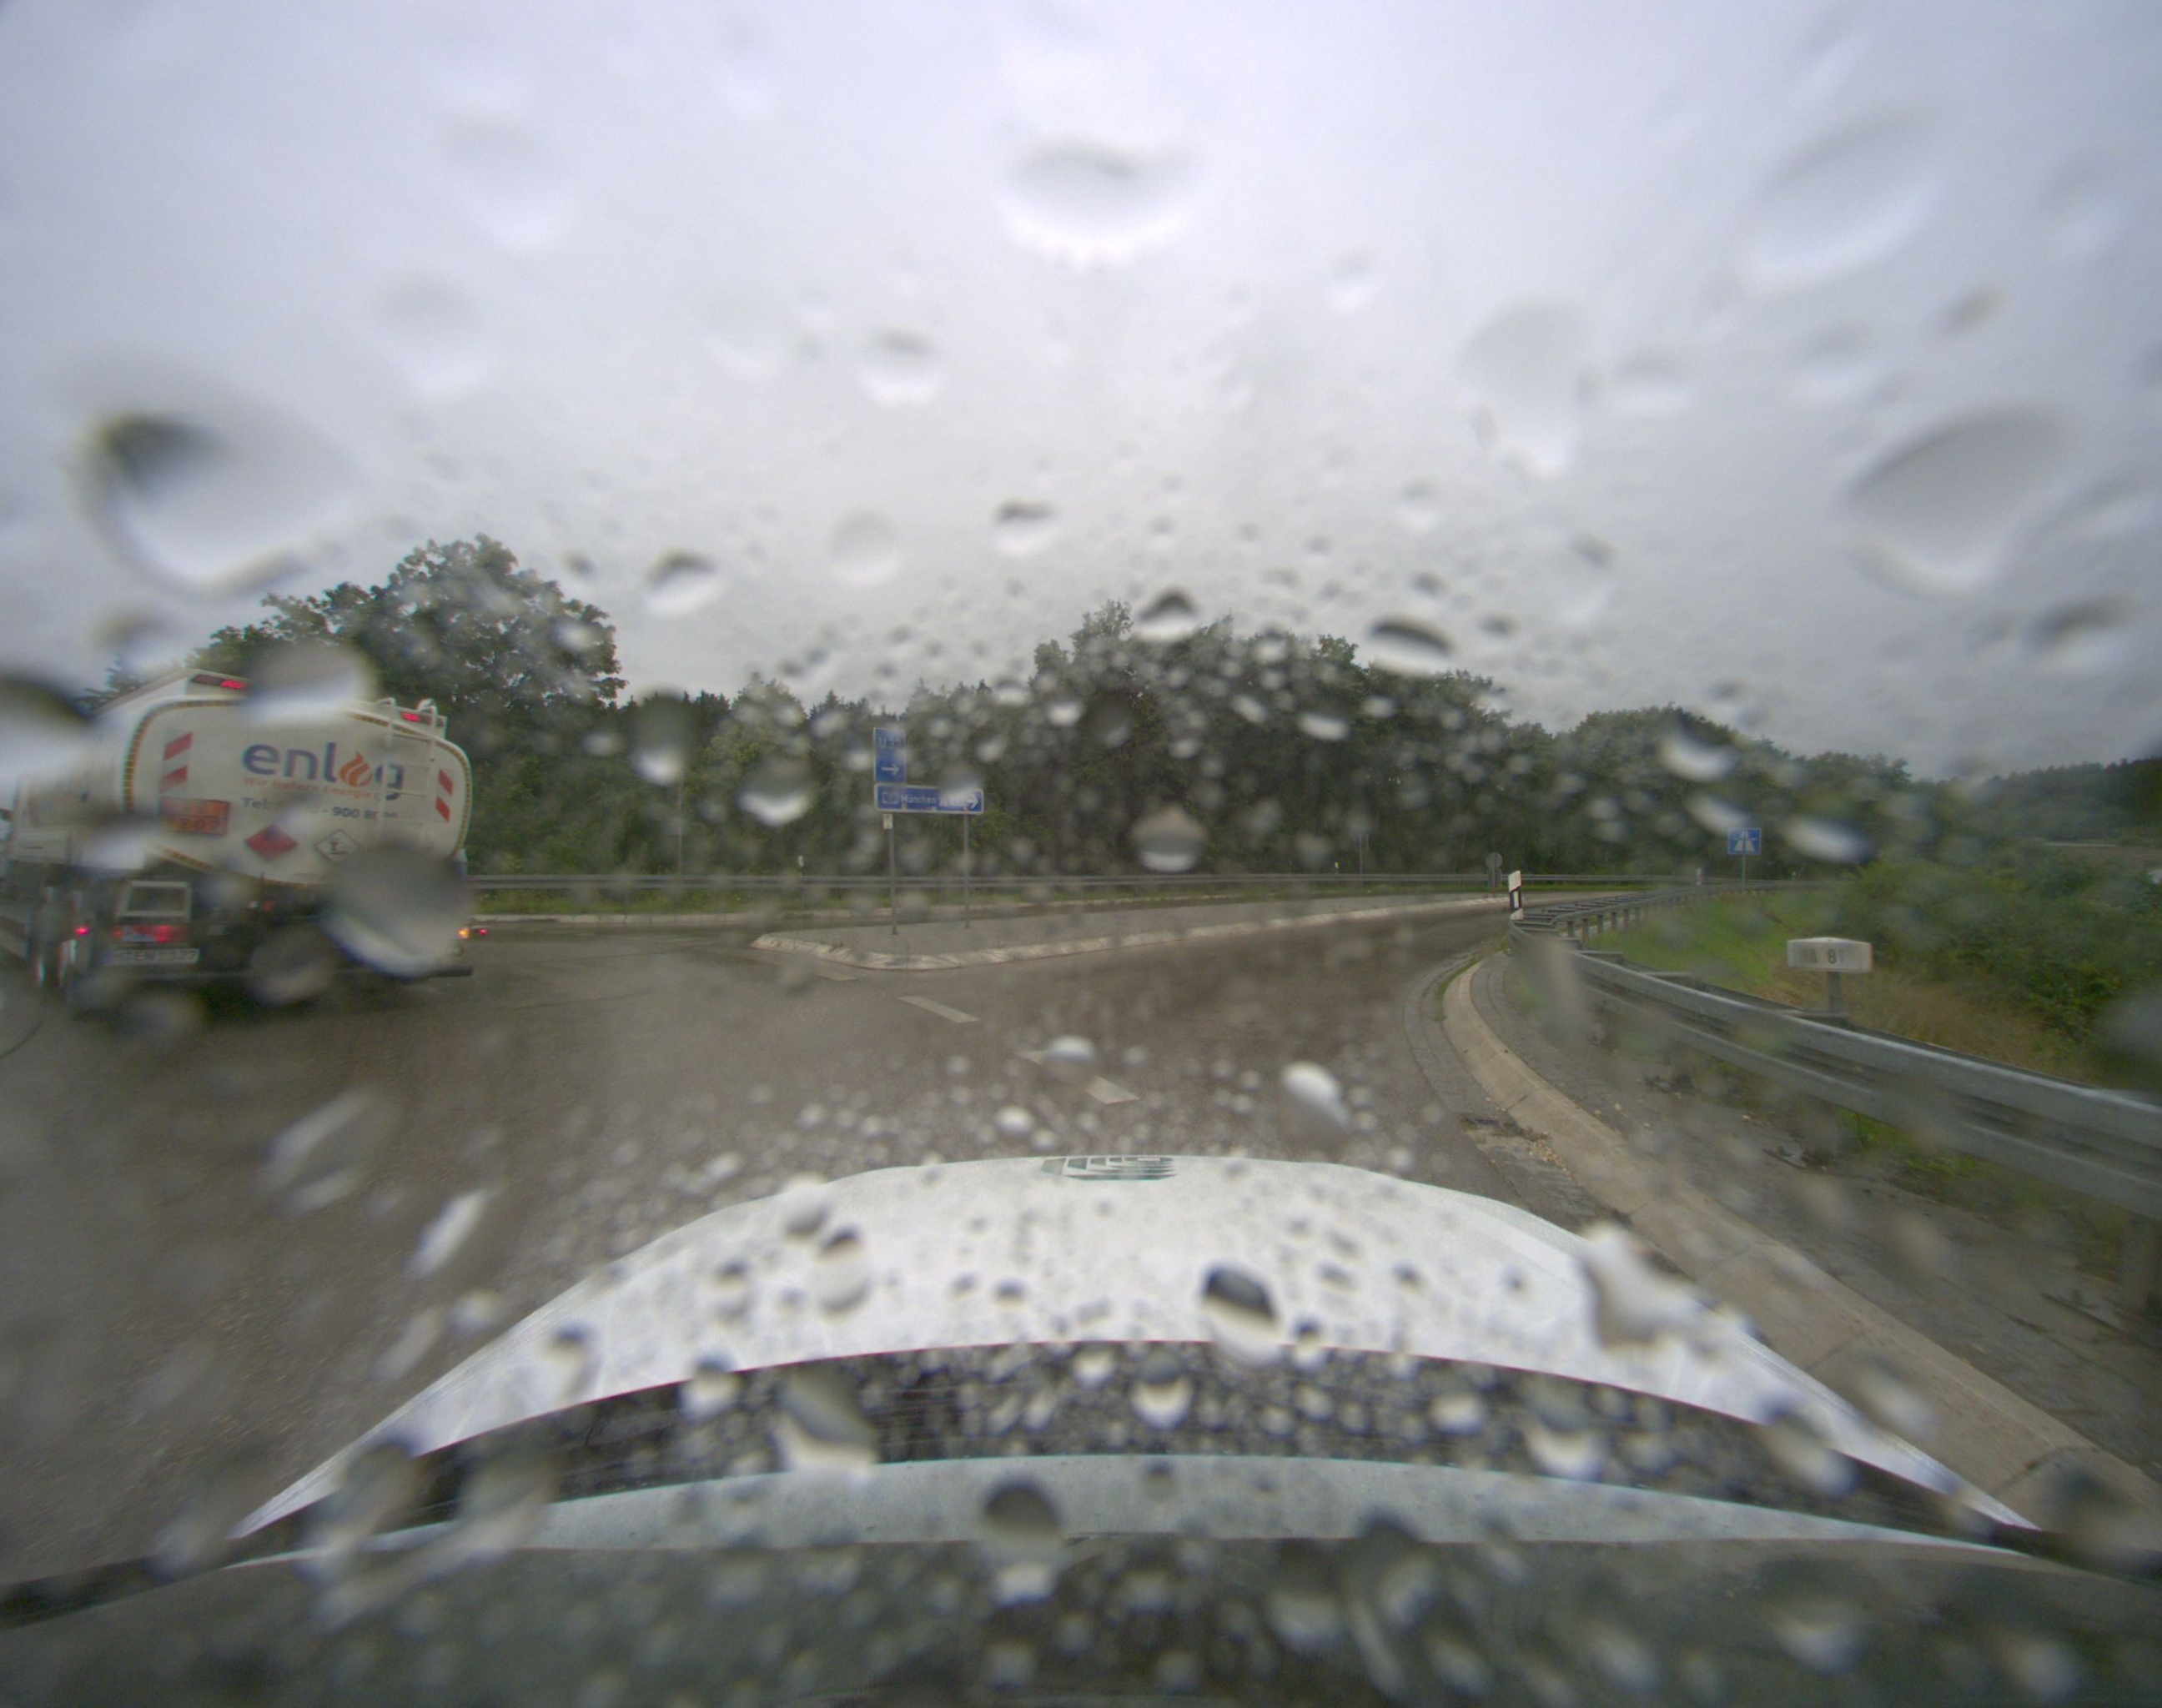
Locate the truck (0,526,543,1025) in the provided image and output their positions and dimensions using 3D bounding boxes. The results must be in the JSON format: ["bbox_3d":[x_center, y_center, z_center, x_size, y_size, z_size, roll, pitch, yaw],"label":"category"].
[{"bbox_3d":[-10.337,-0.681,9.987,8.708,3.851,3.068,1,0,34],"label":"truck"}]
